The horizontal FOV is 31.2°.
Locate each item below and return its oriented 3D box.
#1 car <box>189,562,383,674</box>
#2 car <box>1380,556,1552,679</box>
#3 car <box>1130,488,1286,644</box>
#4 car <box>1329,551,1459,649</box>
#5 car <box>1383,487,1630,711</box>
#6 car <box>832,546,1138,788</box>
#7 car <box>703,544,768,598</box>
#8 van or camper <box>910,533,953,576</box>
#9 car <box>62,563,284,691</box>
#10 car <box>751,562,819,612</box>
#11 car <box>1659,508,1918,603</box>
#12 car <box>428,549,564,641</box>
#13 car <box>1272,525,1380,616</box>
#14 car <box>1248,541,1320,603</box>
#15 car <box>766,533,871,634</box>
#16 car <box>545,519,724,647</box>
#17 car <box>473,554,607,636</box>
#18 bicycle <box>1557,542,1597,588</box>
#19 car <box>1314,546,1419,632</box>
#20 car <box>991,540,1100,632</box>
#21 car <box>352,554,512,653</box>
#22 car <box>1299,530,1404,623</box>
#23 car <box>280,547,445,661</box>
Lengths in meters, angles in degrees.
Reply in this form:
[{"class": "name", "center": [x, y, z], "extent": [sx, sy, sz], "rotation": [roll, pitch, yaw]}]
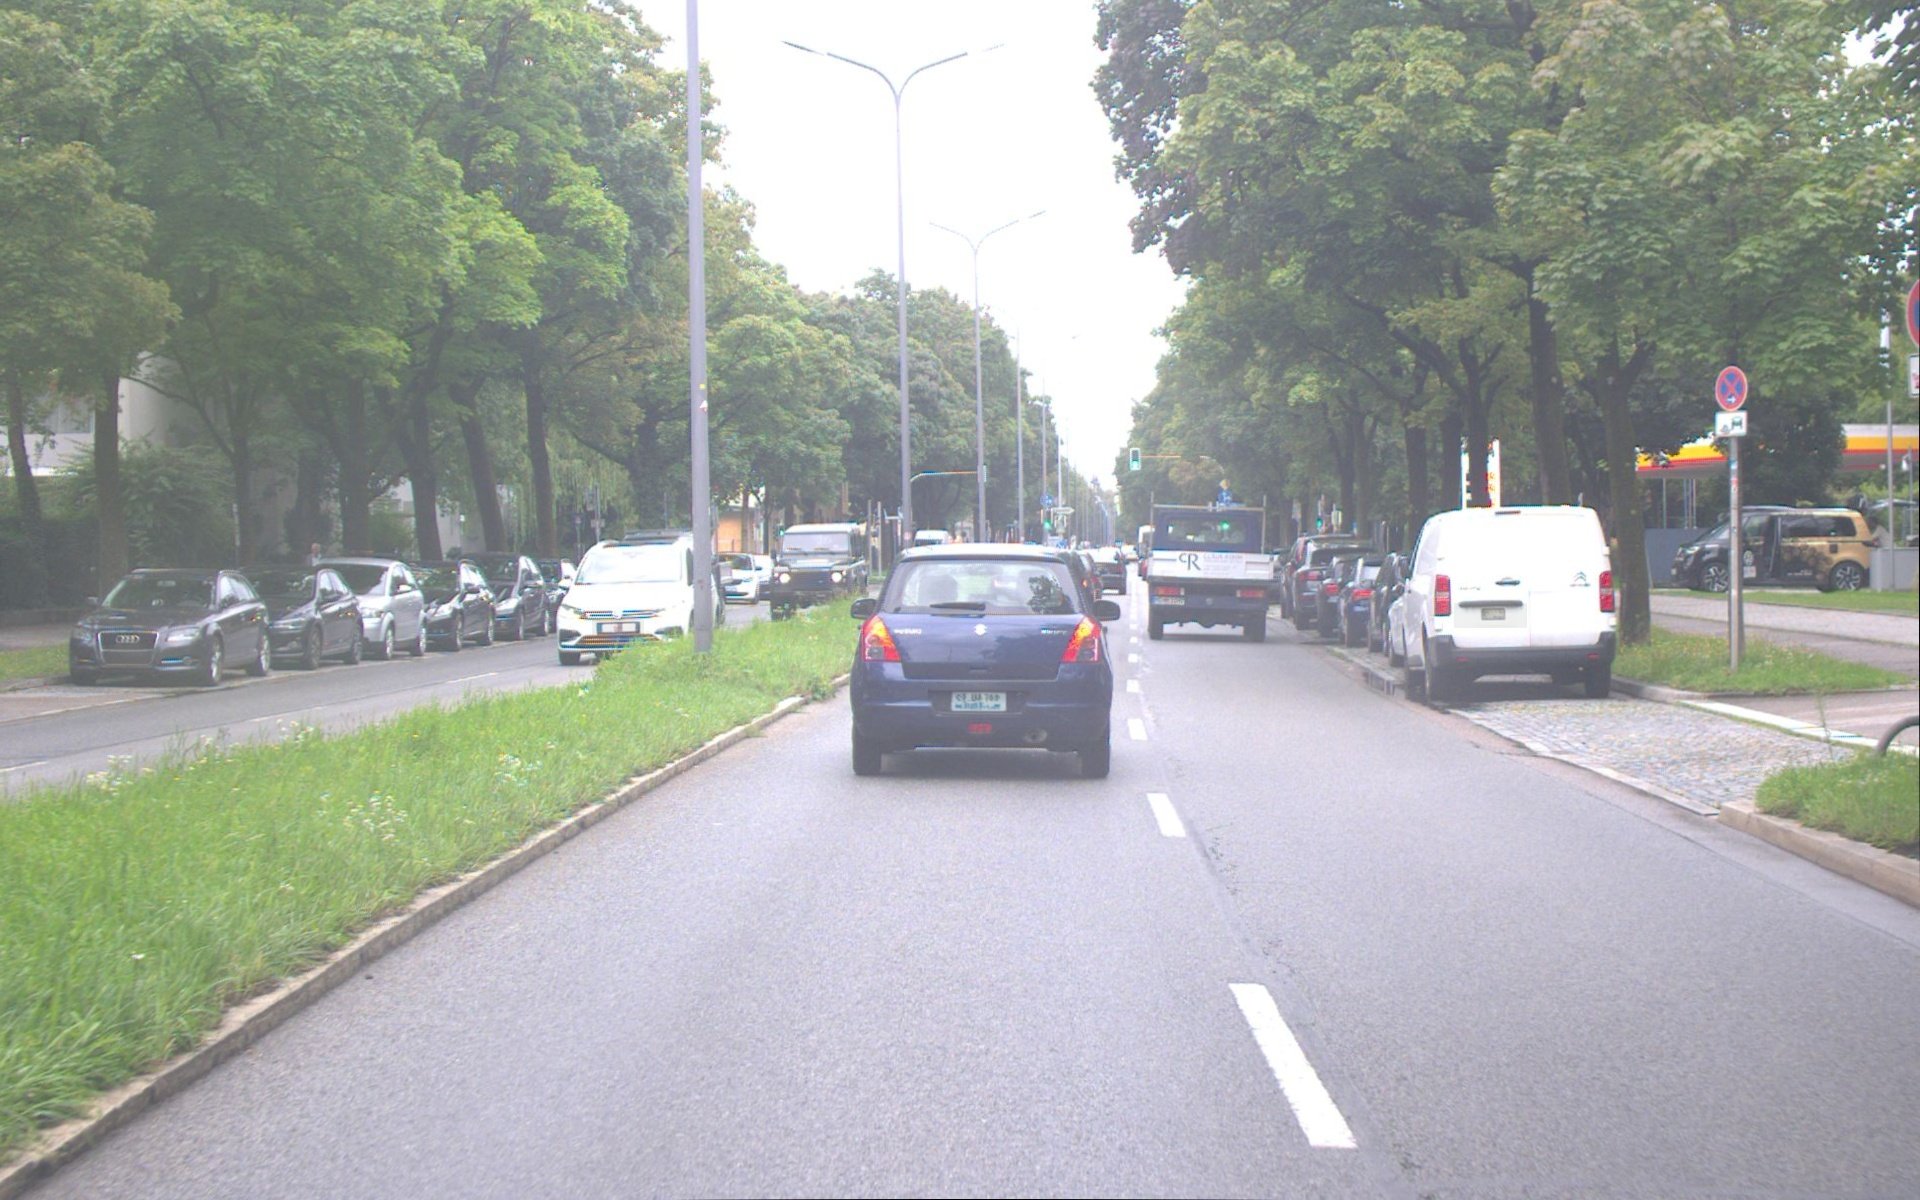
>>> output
[{"class": "car", "center": [-9.469, 0.219, 48.605], "extent": [1.626, 1.418, 4.191], "rotation": [2, 1, 4]}, {"class": "car", "center": [6.248, 0.178, 42.812], "extent": [1.702, 1.392, 4.232], "rotation": [-1, 1, 3]}, {"class": "car", "center": [4.109, -0.576, 56.822], "extent": [2.419, 2.436, 5.086], "rotation": [1, 1, 4]}, {"class": "car", "center": [6.751, -0.029, 53.760], "extent": [1.702, 1.416, 4.121], "rotation": [-1, 1, 3]}, {"class": "car", "center": [5.702, -0.057, 36.491], "extent": [1.987, 2.150, 5.555], "rotation": [-1, 1, 3]}, {"class": "car", "center": [0.150, 0.387, 23.219], "extent": [1.896, 1.494, 3.660], "rotation": [0, 1, 0]}, {"class": "car", "center": [-6.762, -0.885, 103.699], "extent": [1.690, 1.560, 3.079], "rotation": [-1, 1, 1]}, {"class": "van or camper", "center": [-1.657, -2.706, 202.427], "extent": [2.140, 2.467, 6.258], "rotation": [-1, 1, 3]}, {"class": "car", "center": [-9.775, 0.297, 43.007], "extent": [1.580, 1.418, 4.363], "rotation": [2, 1, 2]}, {"class": "car", "center": [-5.527, -0.425, 108.997], "extent": [1.674, 1.470, 4.215], "rotation": [2, 1, 3]}, {"class": "car", "center": [19.054, -1.031, 79.273], "extent": [5.470, 2.076, 2.147], "rotation": [-1, 1, 2]}, {"class": "car", "center": [-8.602, -0.120, 64.076], "extent": [1.686, 1.591, 4.210], "rotation": [2, 1, 3]}, {"class": "car", "center": [7.589, -0.642, 71.661], "extent": [1.893, 1.794, 4.861], "rotation": [-1, 1, 3]}, {"class": "car", "center": [8.541, -0.751, 90.884], "extent": [1.780, 1.506, 4.284], "rotation": [-2, 1, 5]}, {"class": "car", "center": [-2.967, -0.383, 72.944], "extent": [1.780, 2.022, 4.818], "rotation": [-1, 1, 2]}, {"class": "car", "center": [-4.417, -0.265, 47.223], "extent": [1.834, 1.637, 4.350], "rotation": [-1, 1, 2]}, {"class": "car", "center": [-8.358, -0.125, 68.823], "extent": [1.760, 1.508, 4.947], "rotation": [2, 1, 3]}, {"class": "bicycle", "center": [16.110, -0.924, 89.820], "extent": [0.748, 1.179, 2.246], "rotation": [-1, 1, 3]}, {"class": "car", "center": [7.085, -0.223, 60.242], "extent": [1.702, 1.403, 4.512], "rotation": [-1, 1, 6]}, {"class": "car", "center": [1.489, -0.269, 58.944], "extent": [1.799, 1.494, 3.660], "rotation": [-1, 1, 2]}, {"class": "car", "center": [-8.930, 0.021, 58.496], "extent": [1.716, 1.519, 5.034], "rotation": [2, 1, 2]}, {"class": "car", "center": [7.419, -0.469, 65.475], "extent": [1.813, 1.670, 4.799], "rotation": [-1, 1, 5]}, {"class": "car", "center": [-9.222, 0.027, 53.292], "extent": [1.626, 1.642, 3.867], "rotation": [2, 1, 3]}]
